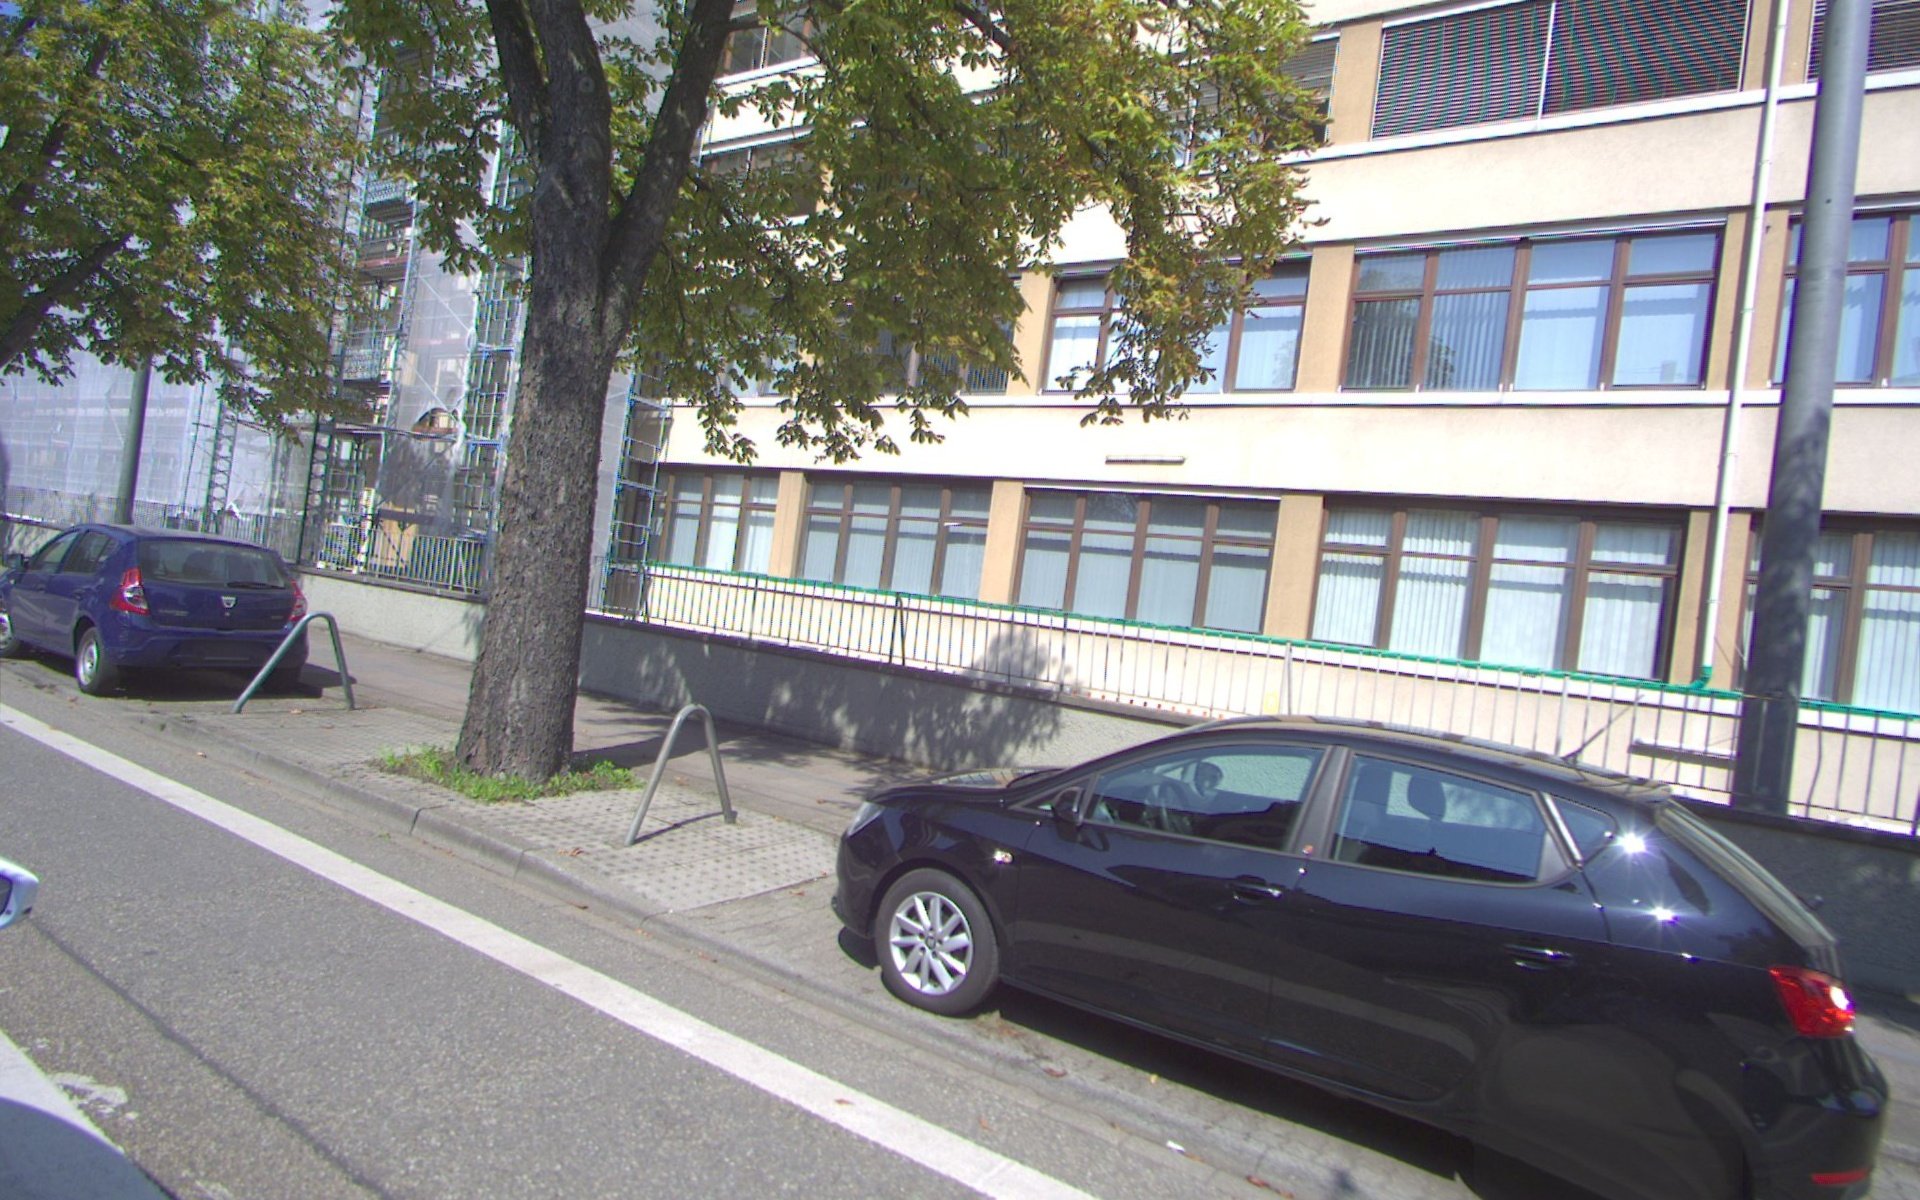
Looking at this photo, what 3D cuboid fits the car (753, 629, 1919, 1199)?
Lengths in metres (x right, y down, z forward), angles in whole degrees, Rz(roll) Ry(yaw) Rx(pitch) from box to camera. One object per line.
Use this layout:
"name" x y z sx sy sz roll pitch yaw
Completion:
"car" 1.288 1.120 4.291 4.147 1.424 1.662 7 -1 32

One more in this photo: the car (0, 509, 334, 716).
"car" -8.381 0.058 10.159 4.147 1.574 1.745 7 -1 32
